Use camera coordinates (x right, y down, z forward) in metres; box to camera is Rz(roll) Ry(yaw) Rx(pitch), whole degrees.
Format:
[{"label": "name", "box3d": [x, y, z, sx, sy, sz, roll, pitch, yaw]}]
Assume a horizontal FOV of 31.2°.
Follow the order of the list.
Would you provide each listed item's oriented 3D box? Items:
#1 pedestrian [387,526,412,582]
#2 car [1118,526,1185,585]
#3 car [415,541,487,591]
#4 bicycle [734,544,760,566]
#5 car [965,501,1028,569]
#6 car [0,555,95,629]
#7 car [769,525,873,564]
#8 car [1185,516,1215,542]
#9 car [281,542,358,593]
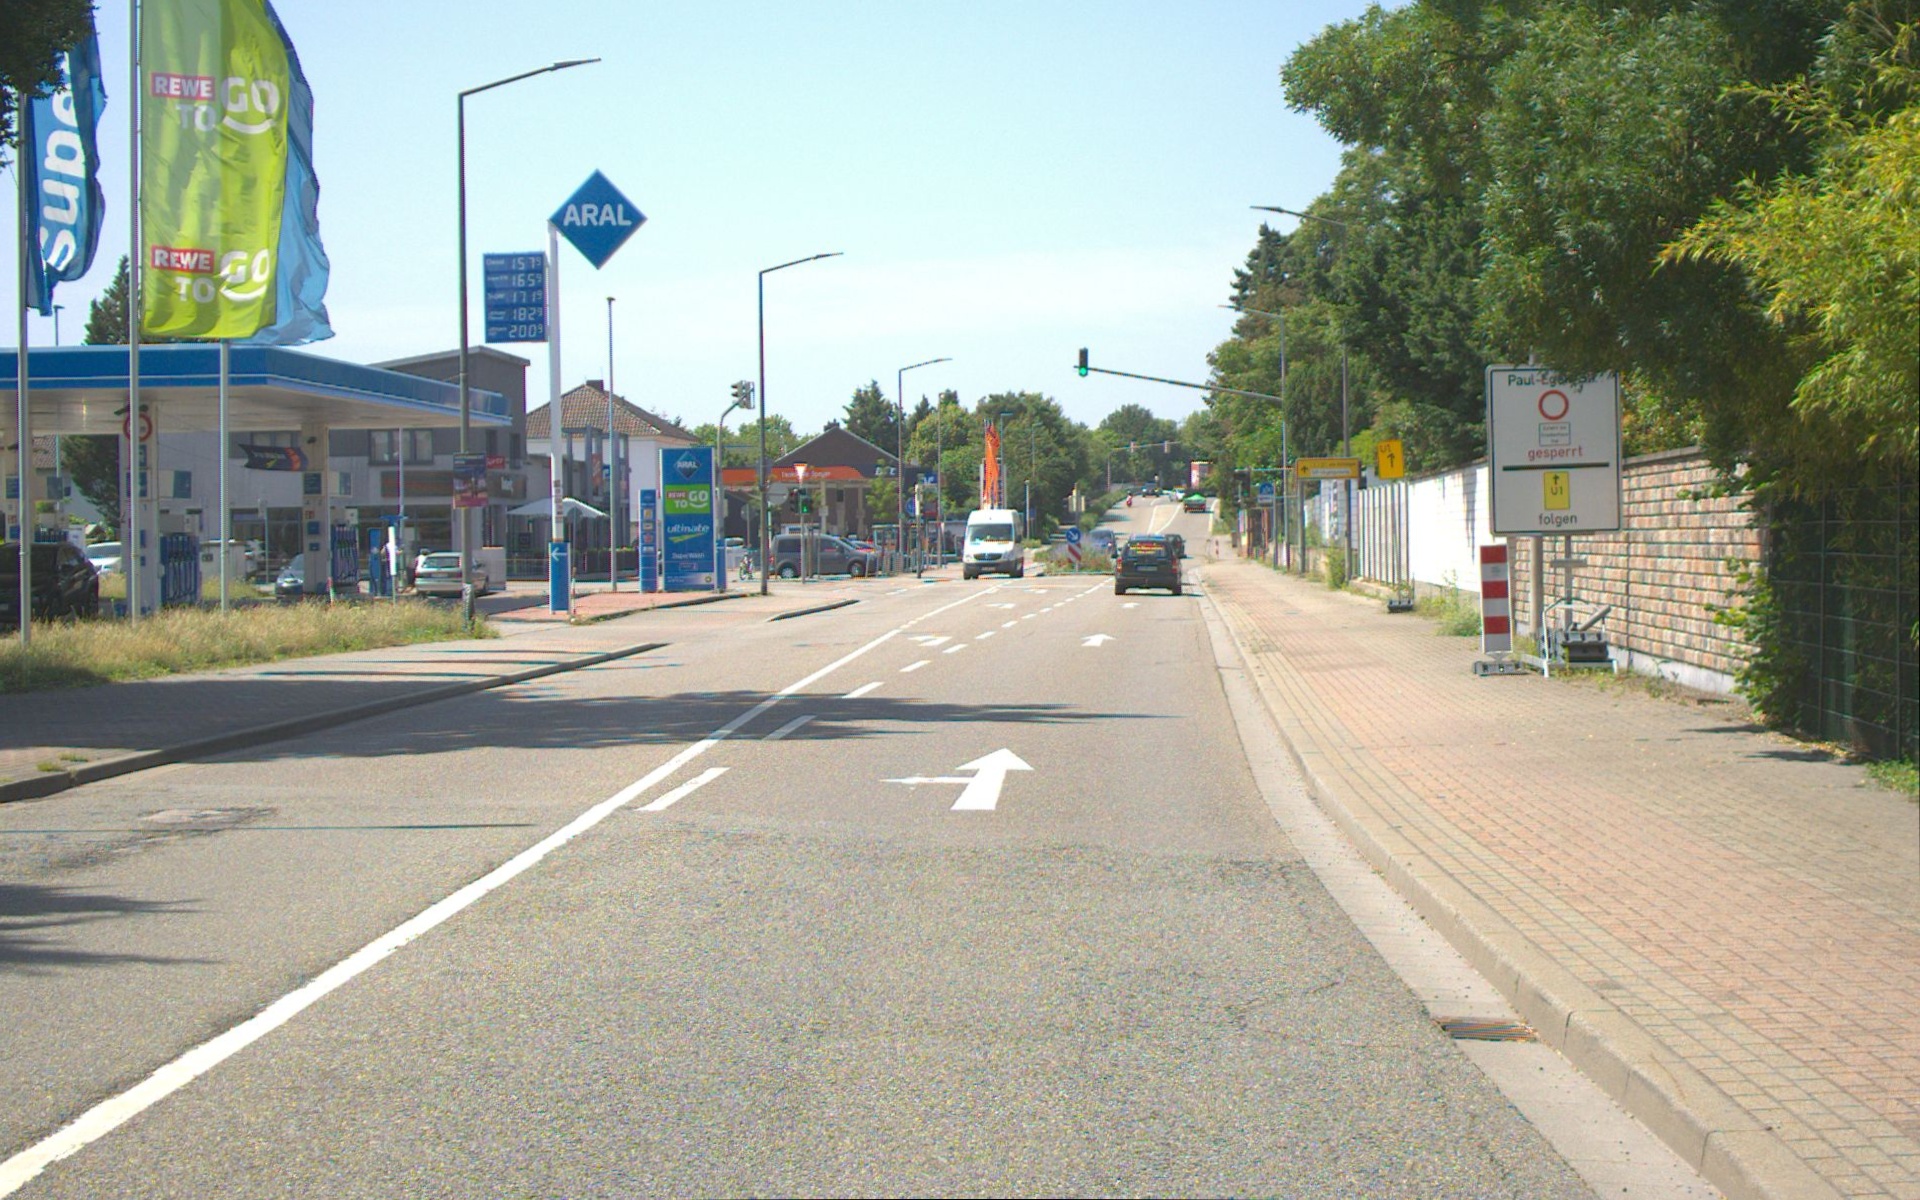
[{"label": "pedestrian", "box3d": [-17.132, -1.411, 105.084, 0.610, 1.685, 0.709, -1, 1, -22]}, {"label": "car", "box3d": [4.892, -1.146, 87.567, 1.665, 1.450, 3.472, 0, 1, 4]}, {"label": "car", "box3d": [-15.402, -1.036, 104.110, 1.617, 1.415, 3.712, -2, 1, -1]}, {"label": "bicycle", "box3d": [-7.775, -1.640, 125.641, 0.612, 0.790, 2.574, 0, 1, 4]}, {"label": "car", "box3d": [1.404, -2.432, 130.107, 1.994, 2.414, 5.946, 1, 0, 4]}, {"label": "car", "box3d": [-18.567, -0.175, 68.014, 1.670, 1.377, 4.000, 0, 1, 4]}, {"label": "car", "box3d": [-5.404, -2.162, 134.016, 3.987, 1.503, 1.555, 0, 1, 1]}, {"label": "car", "box3d": [13.837, -4.100, 198.123, 1.665, 1.450, 3.472, 0, 1, 4]}, {"label": "car", "box3d": [-19.400, -0.998, 104.220, 1.617, 1.415, 3.712, -2, 1, -1]}]
